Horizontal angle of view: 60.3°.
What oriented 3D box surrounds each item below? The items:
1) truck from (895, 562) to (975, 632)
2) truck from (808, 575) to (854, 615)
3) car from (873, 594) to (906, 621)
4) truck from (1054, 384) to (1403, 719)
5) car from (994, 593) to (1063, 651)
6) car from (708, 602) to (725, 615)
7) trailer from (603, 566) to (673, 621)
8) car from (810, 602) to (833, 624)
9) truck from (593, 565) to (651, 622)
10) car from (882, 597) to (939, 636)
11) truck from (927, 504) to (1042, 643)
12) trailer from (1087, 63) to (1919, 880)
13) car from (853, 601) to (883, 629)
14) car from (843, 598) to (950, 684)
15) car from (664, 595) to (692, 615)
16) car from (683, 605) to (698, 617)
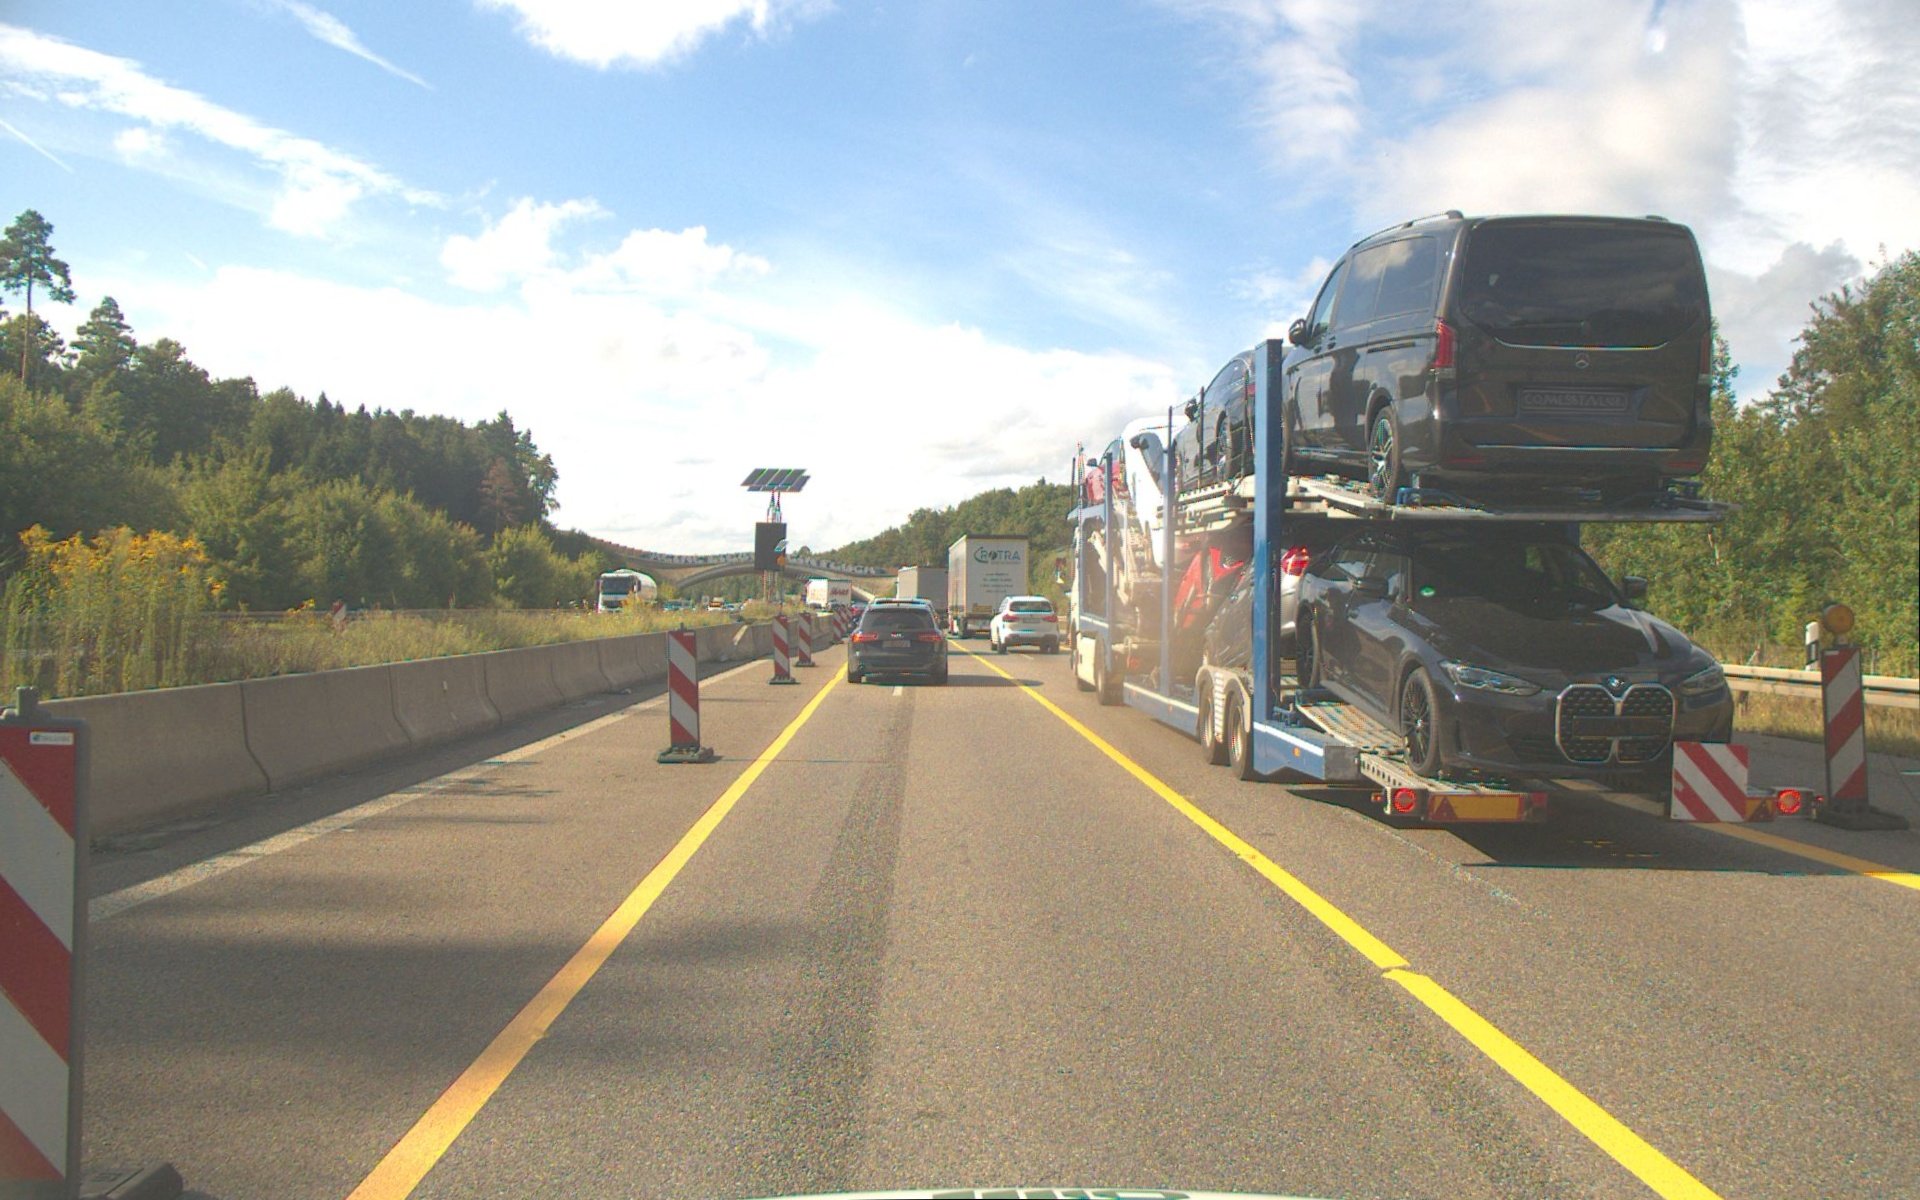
[{"bbox_3d":[-1.911,-0.190,118.113,4.239,4.681,11.101,1,0,-9],"label":"truck"},{"bbox_3d":[-13.628,-0.500,173.728,3.588,3.997,11.037,1,0,-11],"label":"truck"},{"bbox_3d":[-4.563,0.510,106.646,1.854,1.672,4.012,1,0,-6],"label":"car"},{"bbox_3d":[3.715,-0.595,25.342,3.686,4.270,7.946,1,0,-3],"label":"truck"},{"bbox_3d":[2.047,0.652,50.459,1.852,1.672,4.017,1,0,-1],"label":"car"},{"bbox_3d":[-32.122,1.087,218.445,1.742,1.630,4.017,1,0,-1],"label":"car"},{"bbox_3d":[-21.786,-0.388,112.450,2.745,3.551,11.109,1,0,-1],"label":"trailer"},{"bbox_3d":[-13.361,1.232,159.010,1.956,2.049,3.992,1,0,-8],"label":"car"},{"bbox_3d":[-21.693,-0.419,106.264,2.728,3.551,4.938,1,0,-1],"label":"truck"},{"bbox_3d":[-1.990,0.656,65.165,1.854,1.472,3.993,1,0,-7],"label":"car"},{"bbox_3d":[0.816,-0.994,73.102,3.605,5.447,16.186,1,0,-4],"label":"truck"},{"bbox_3d":[4.140,-0.613,16.865,3.652,4.270,16.217,1,0,-3],"label":"trailer"},{"bbox_3d":[-6.920,1.112,124.099,1.955,2.049,3.994,1,0,-7],"label":"car"},{"bbox_3d":[-1.146,0.730,30.906,1.852,1.472,3.999,1,0,-1],"label":"car"},{"bbox_3d":[-24.483,0.449,143.603,1.742,1.630,4.017,1,0,-1],"label":"car"},{"bbox_3d":[-37.948,1.532,232.621,1.743,1.630,4.671,1,0,-5],"label":"car"}]
